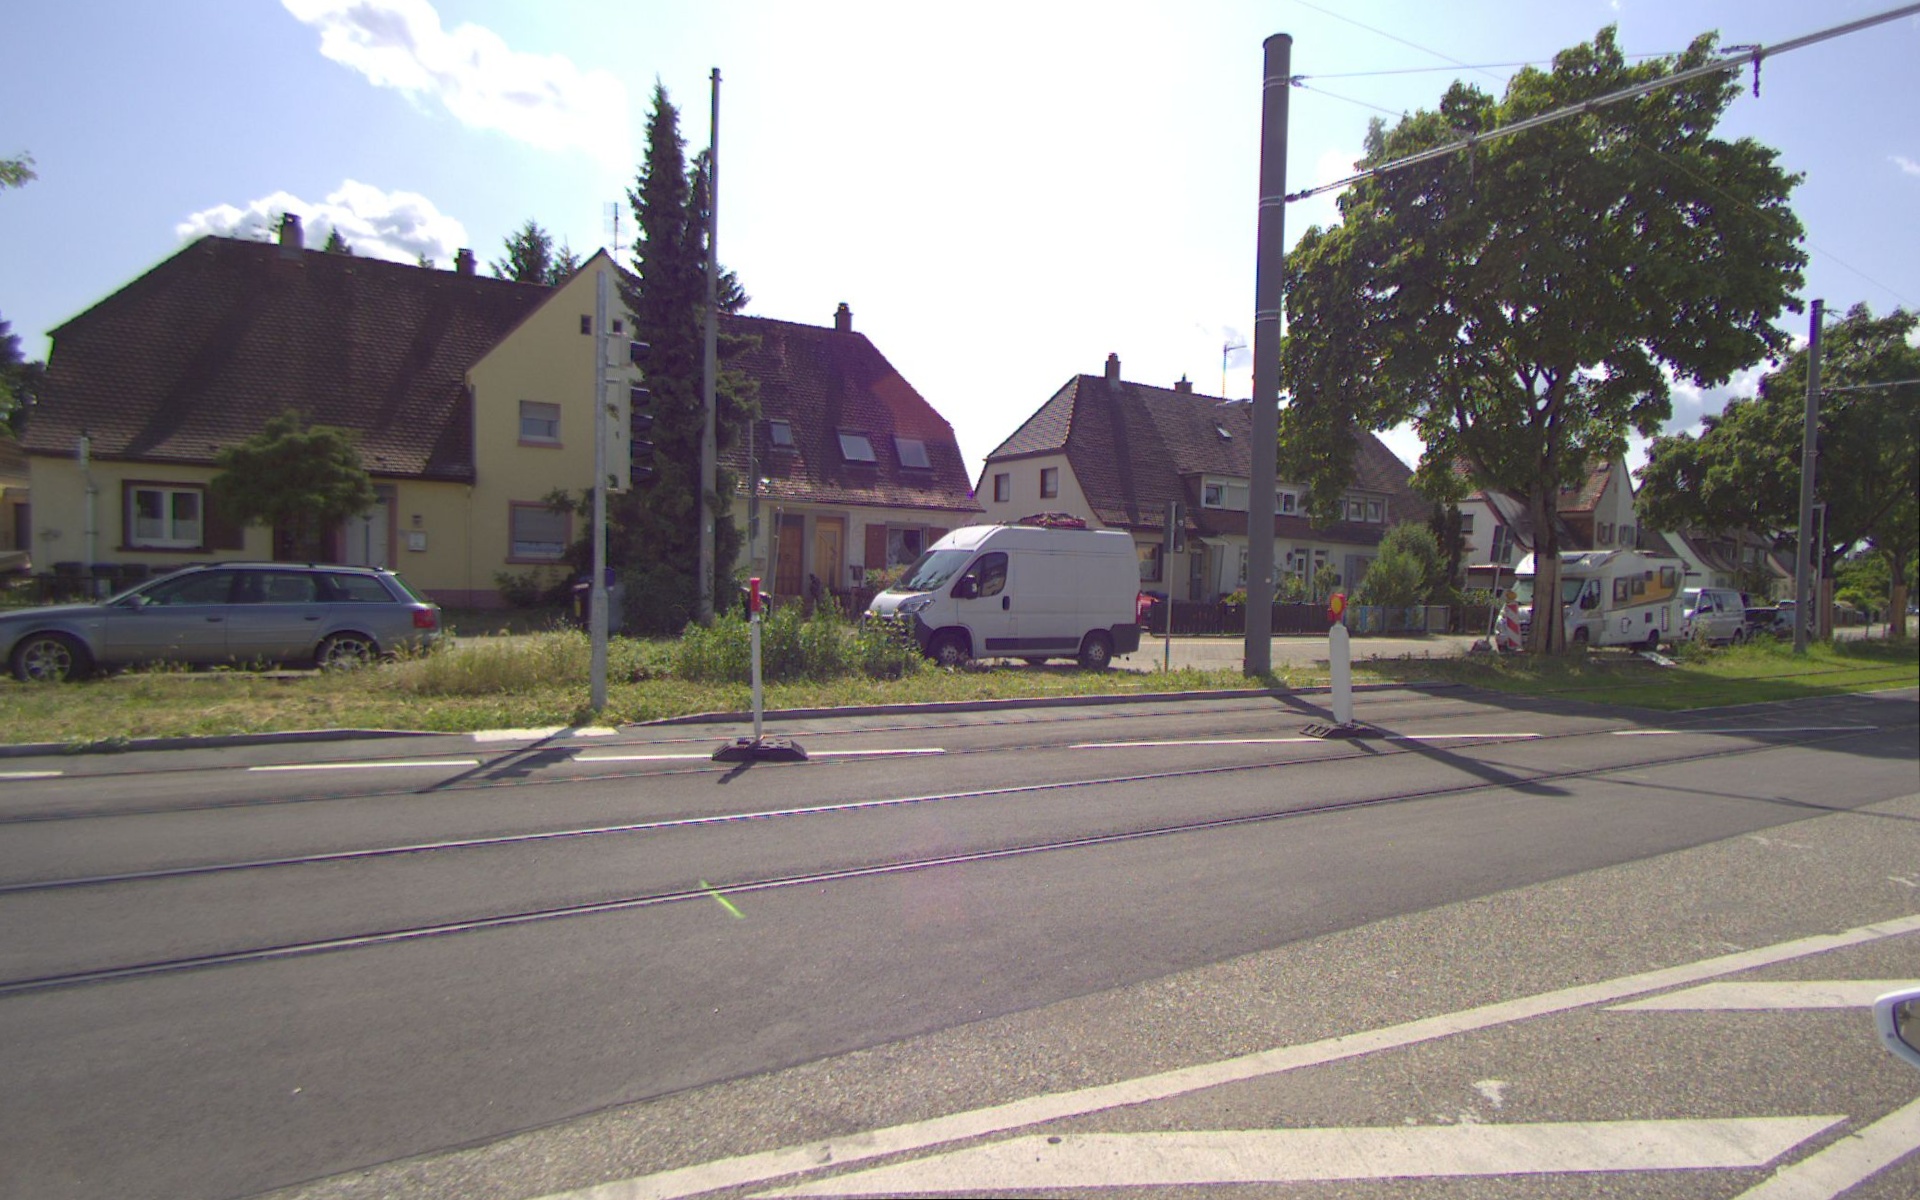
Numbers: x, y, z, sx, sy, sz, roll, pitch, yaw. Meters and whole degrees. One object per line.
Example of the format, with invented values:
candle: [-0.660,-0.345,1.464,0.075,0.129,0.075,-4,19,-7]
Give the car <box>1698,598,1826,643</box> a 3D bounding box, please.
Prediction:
car: [28.067,0.705,35.121,4.750,1.406,1.843,1,2,-30]

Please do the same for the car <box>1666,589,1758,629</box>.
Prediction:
car: [41.836,0.460,56.018,3.829,1.922,1.938,5,3,33]

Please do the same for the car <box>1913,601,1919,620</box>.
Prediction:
car: [95.183,1.090,98.503,5.039,1.792,1.866,1,2,-39]

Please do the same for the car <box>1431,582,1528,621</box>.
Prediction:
car: [26.222,0.048,50.804,1.783,1.761,3.955,0,3,-38]

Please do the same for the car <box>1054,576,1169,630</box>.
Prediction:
car: [4.718,0.067,31.667,1.652,1.542,3.597,1,2,-31]

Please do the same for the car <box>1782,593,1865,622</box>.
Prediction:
car: [63.748,0.532,74.231,2.051,1.861,4.426,0,2,-44]

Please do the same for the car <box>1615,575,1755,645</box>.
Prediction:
car: [23.114,0.307,31.984,4.852,2.041,1.981,1,2,-34]

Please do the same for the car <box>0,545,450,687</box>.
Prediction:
car: [-8.851,0.171,12.185,4.696,1.484,1.685,1,2,-29]

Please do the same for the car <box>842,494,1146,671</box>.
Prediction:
car: [0.643,-0.258,17.496,4.859,2.704,2.142,1,2,-31]

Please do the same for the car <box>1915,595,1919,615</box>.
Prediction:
car: [128.809,0.658,133.375,2.047,2.757,6.976,1,0,36]

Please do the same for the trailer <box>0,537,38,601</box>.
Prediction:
trailer: [-21.798,-0.688,21.134,1.997,1.412,5.239,1,2,-25]

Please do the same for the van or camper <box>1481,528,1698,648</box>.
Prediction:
van or camper: [17.769,-0.279,28.201,7.220,3.010,2.361,1,1,-34]
